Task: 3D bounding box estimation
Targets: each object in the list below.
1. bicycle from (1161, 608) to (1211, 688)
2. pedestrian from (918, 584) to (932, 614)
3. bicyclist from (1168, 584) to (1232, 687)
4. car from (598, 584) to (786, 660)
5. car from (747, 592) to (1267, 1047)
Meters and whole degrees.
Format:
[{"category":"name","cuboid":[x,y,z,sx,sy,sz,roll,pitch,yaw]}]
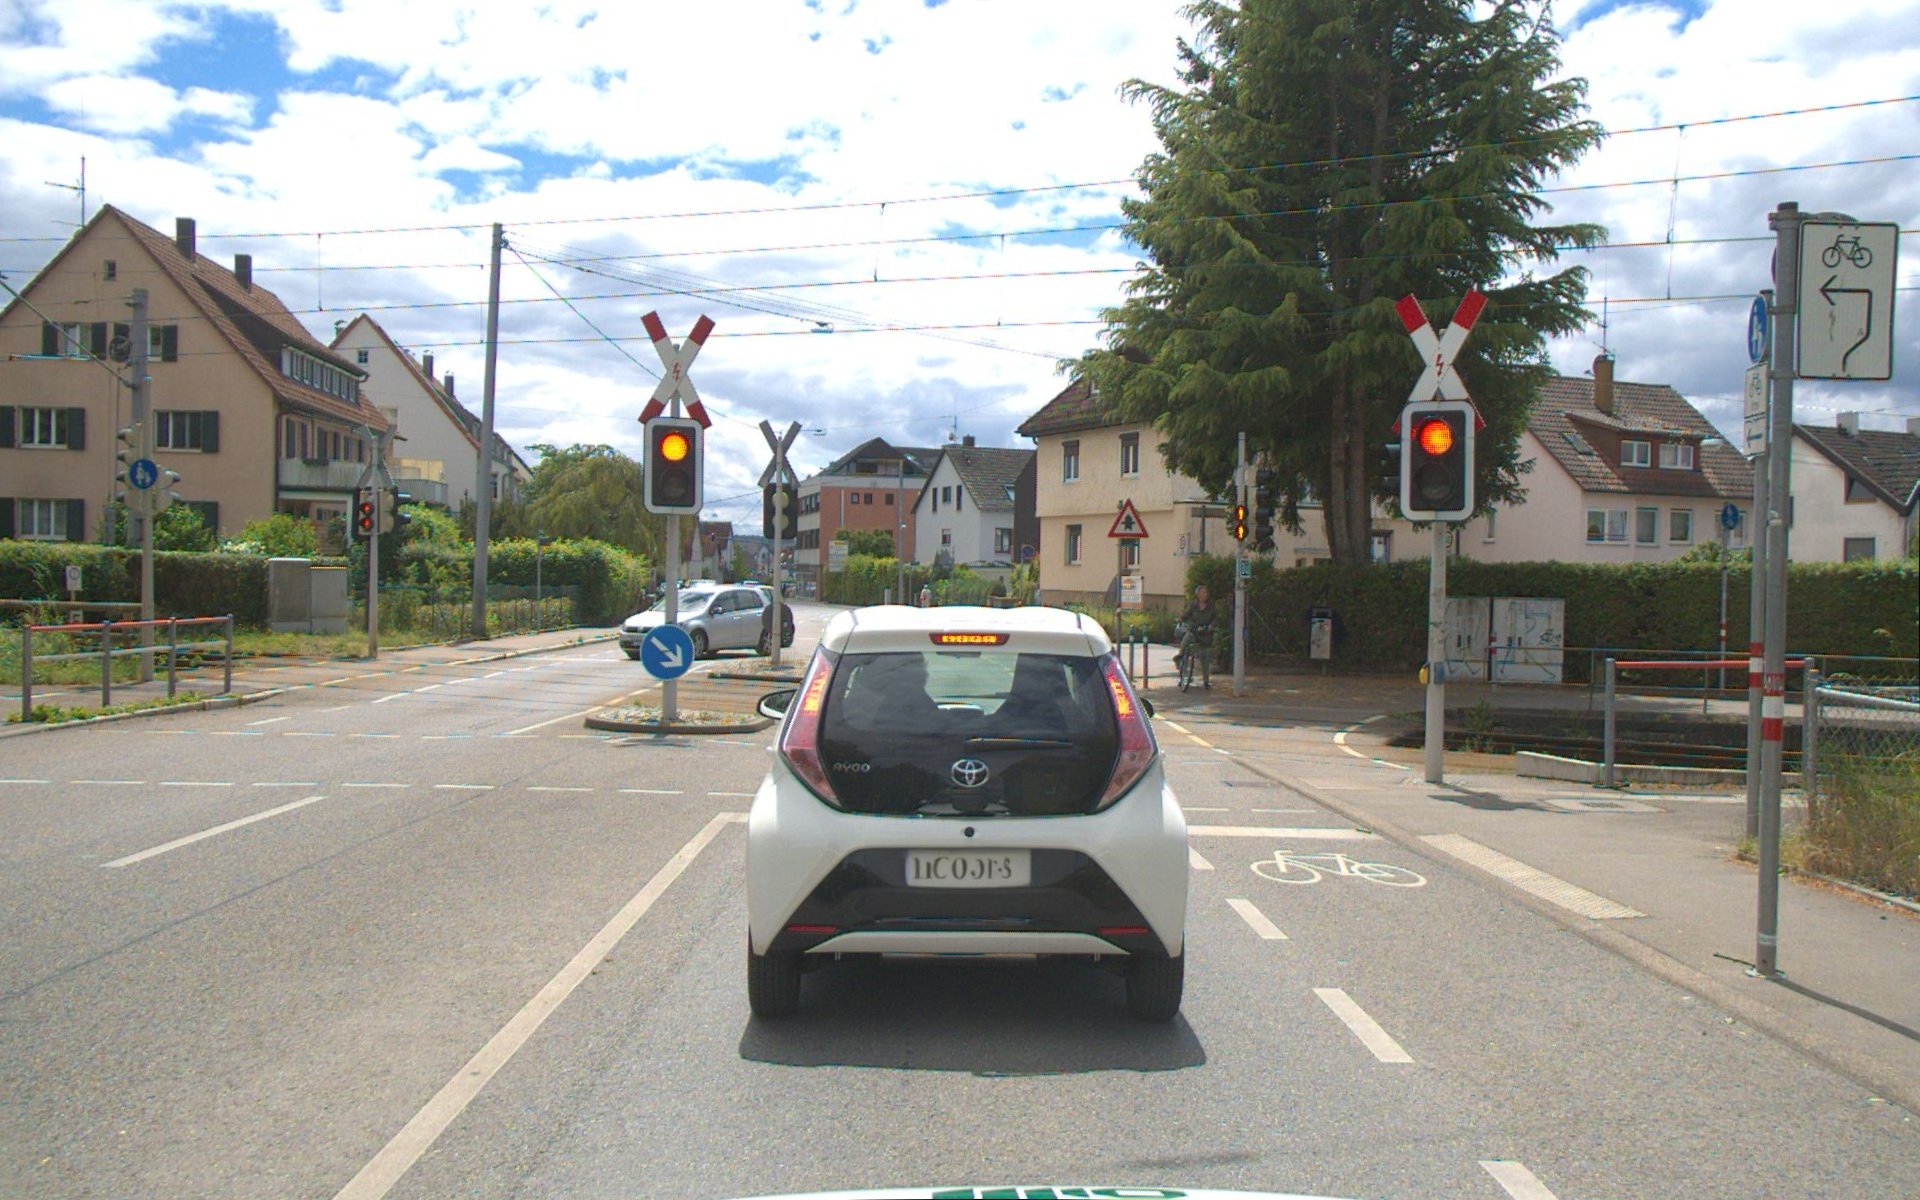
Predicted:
[{"category":"bicycle","cuboid":[3.684,0.766,27.036,0.448,1.192,1.477,-2,3,-6]},{"category":"pedestrian","cuboid":[-1.897,-0.048,90.899,0.711,1.604,0.803,2,0,-1]},{"category":"bicyclist","cuboid":[3.894,0.565,26.877,0.825,1.580,0.755,-2,3,-7]},{"category":"car","cuboid":[-5.602,0.458,35.059,1.868,1.466,4.093,2,0,27]},{"category":"car","cuboid":[0.036,0.726,7.322,1.687,1.467,3.705,2,0,-4]}]
